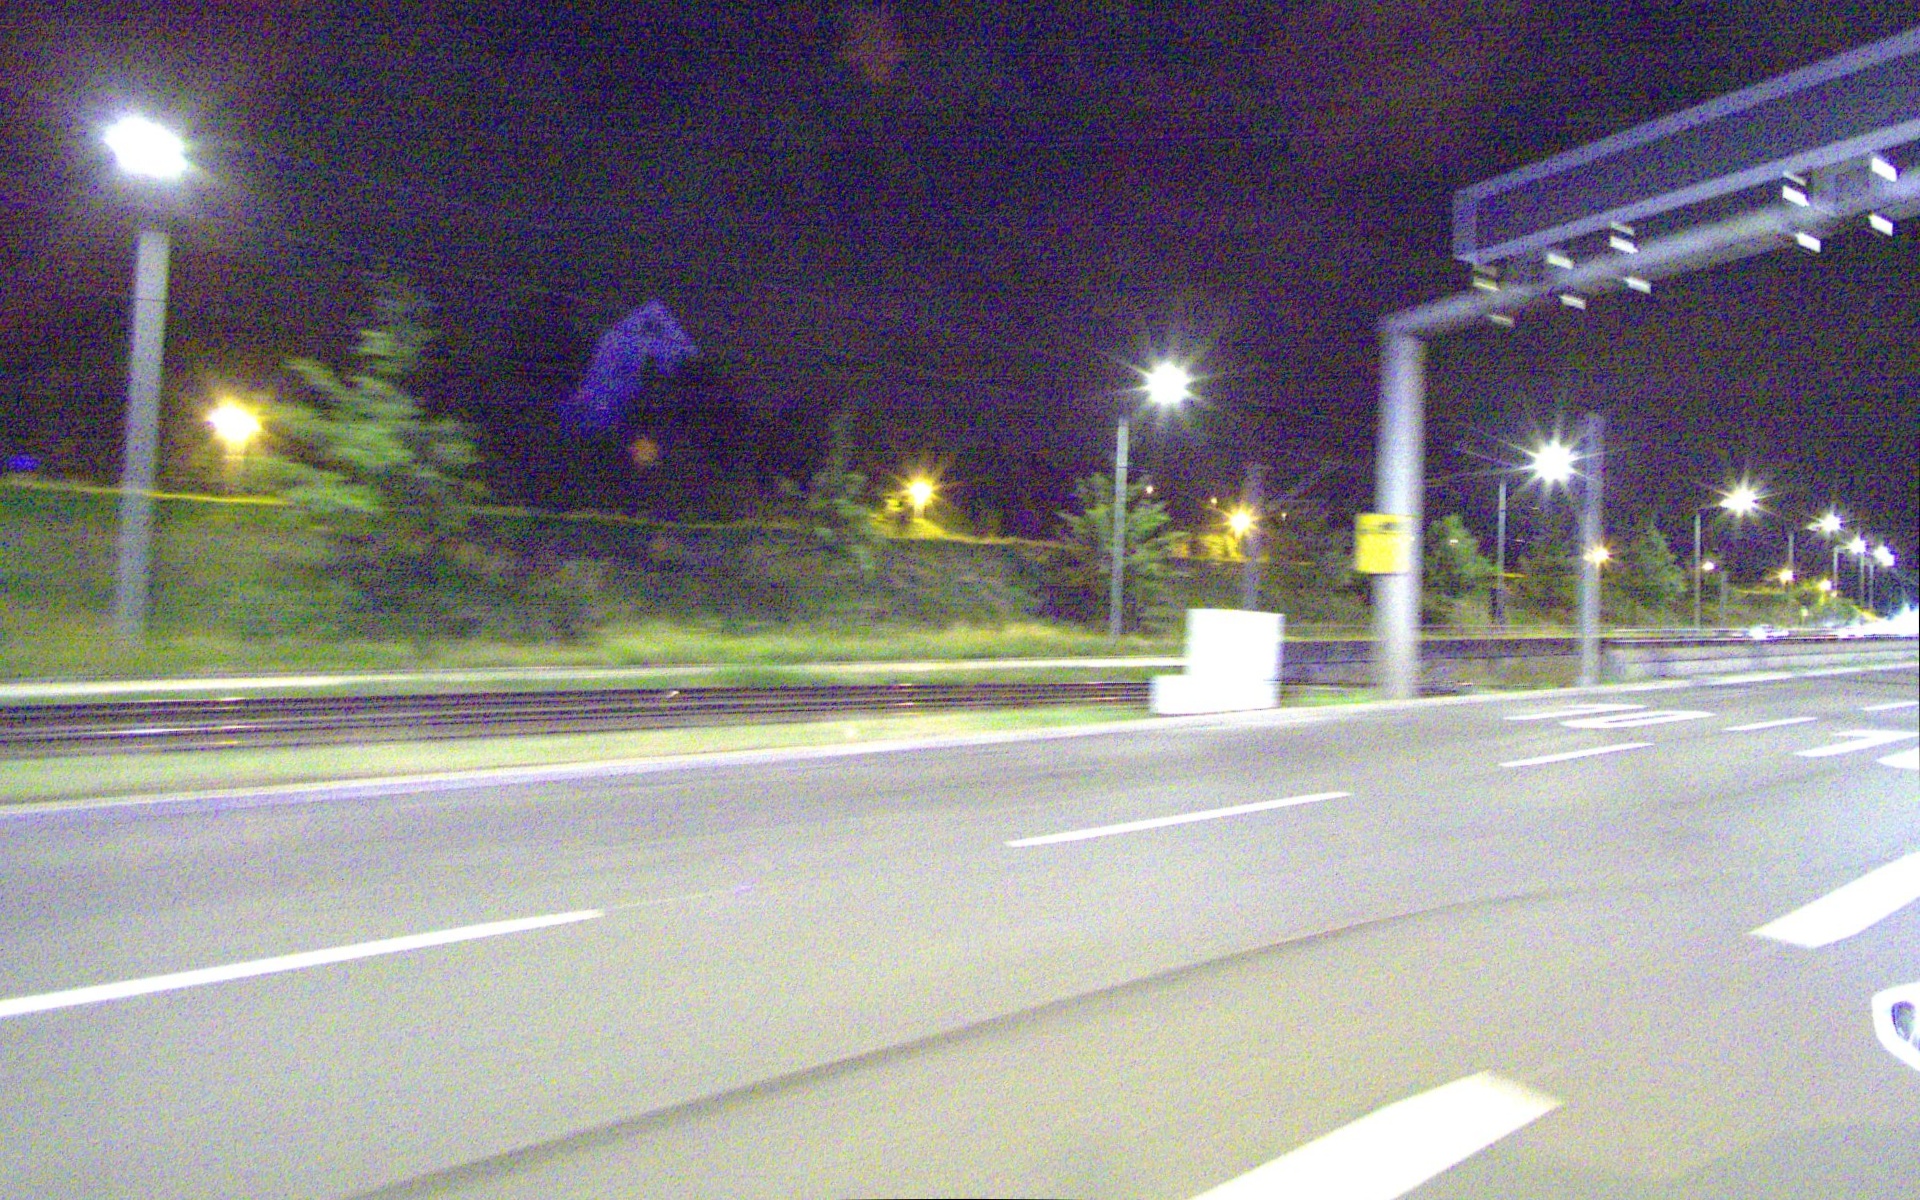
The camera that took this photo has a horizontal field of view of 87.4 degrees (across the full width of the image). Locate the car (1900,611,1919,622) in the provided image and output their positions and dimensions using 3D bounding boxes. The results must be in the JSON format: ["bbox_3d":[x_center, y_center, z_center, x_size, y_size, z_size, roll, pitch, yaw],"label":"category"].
[{"bbox_3d":[148.427,2.532,156.910,3.642,1.500,1.615,3,0,-35],"label":"car"}]
